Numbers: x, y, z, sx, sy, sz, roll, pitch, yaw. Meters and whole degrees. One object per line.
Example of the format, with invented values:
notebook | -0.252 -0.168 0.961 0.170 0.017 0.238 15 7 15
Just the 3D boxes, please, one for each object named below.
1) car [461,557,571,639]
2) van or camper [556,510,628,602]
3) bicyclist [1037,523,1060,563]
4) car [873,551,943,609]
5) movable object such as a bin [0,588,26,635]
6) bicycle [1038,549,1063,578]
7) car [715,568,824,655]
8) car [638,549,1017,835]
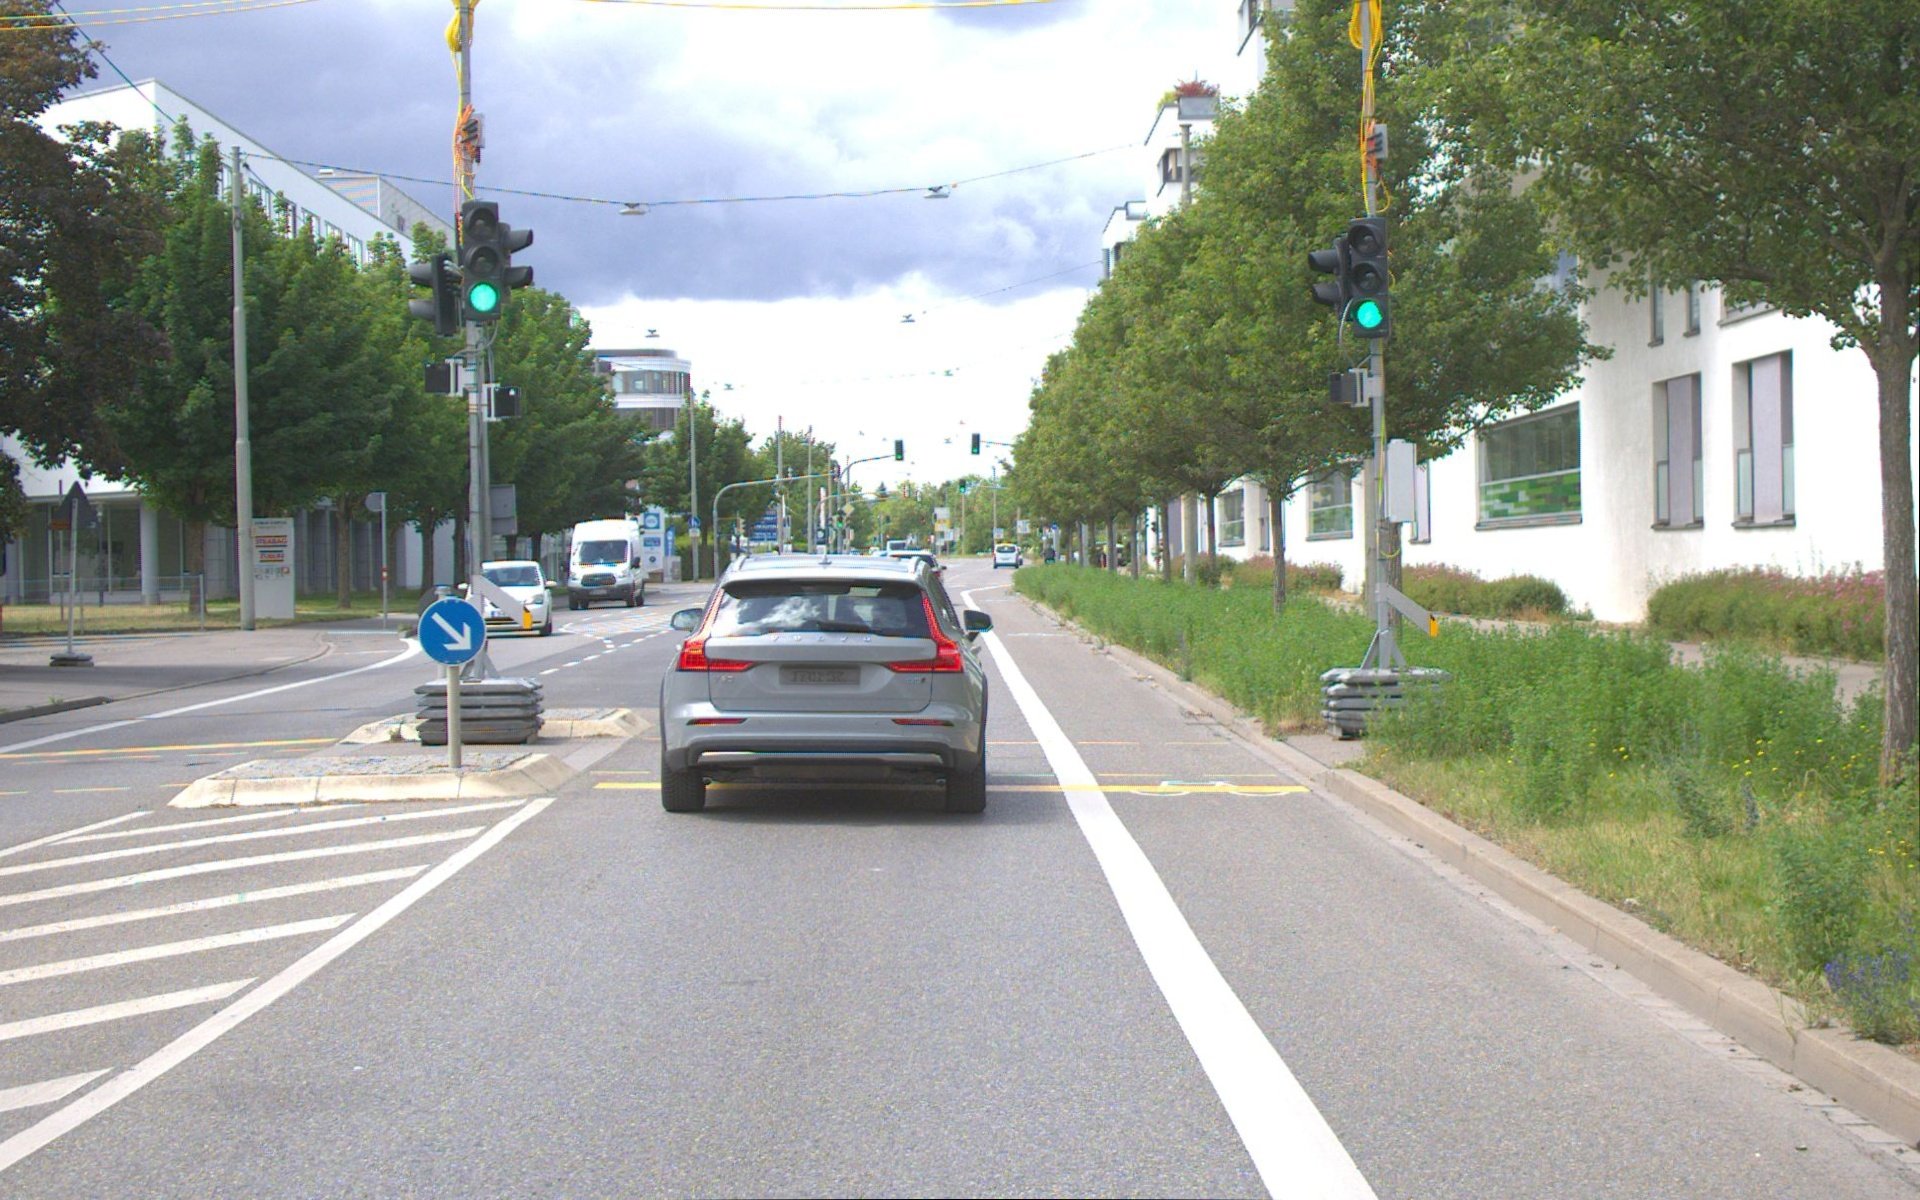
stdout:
car | -8.717 -0.057 67.756 1.661 1.510 4.000 -1 1 -1
van or camper | -11.437 -1.372 107.149 1.993 2.724 6.054 -2 1 -5
bicyclist | 4.513 -2.897 174.984 1.014 2.007 1.131 -2 1 -1
car | -1.423 -0.558 93.218 1.845 1.508 4.000 0 1 -1
movable object such as a bin | -19.805 0.244 70.779 0.746 0.938 0.999 -2 1 6
bicycle | 4.585 -1.871 175.023 1.067 1.448 2.978 -2 1 -1
car | -3.476 0.187 63.394 1.854 1.508 4.000 0 1 -1
car | -0.690 0.470 20.659 1.854 1.508 4.000 1 1 4
